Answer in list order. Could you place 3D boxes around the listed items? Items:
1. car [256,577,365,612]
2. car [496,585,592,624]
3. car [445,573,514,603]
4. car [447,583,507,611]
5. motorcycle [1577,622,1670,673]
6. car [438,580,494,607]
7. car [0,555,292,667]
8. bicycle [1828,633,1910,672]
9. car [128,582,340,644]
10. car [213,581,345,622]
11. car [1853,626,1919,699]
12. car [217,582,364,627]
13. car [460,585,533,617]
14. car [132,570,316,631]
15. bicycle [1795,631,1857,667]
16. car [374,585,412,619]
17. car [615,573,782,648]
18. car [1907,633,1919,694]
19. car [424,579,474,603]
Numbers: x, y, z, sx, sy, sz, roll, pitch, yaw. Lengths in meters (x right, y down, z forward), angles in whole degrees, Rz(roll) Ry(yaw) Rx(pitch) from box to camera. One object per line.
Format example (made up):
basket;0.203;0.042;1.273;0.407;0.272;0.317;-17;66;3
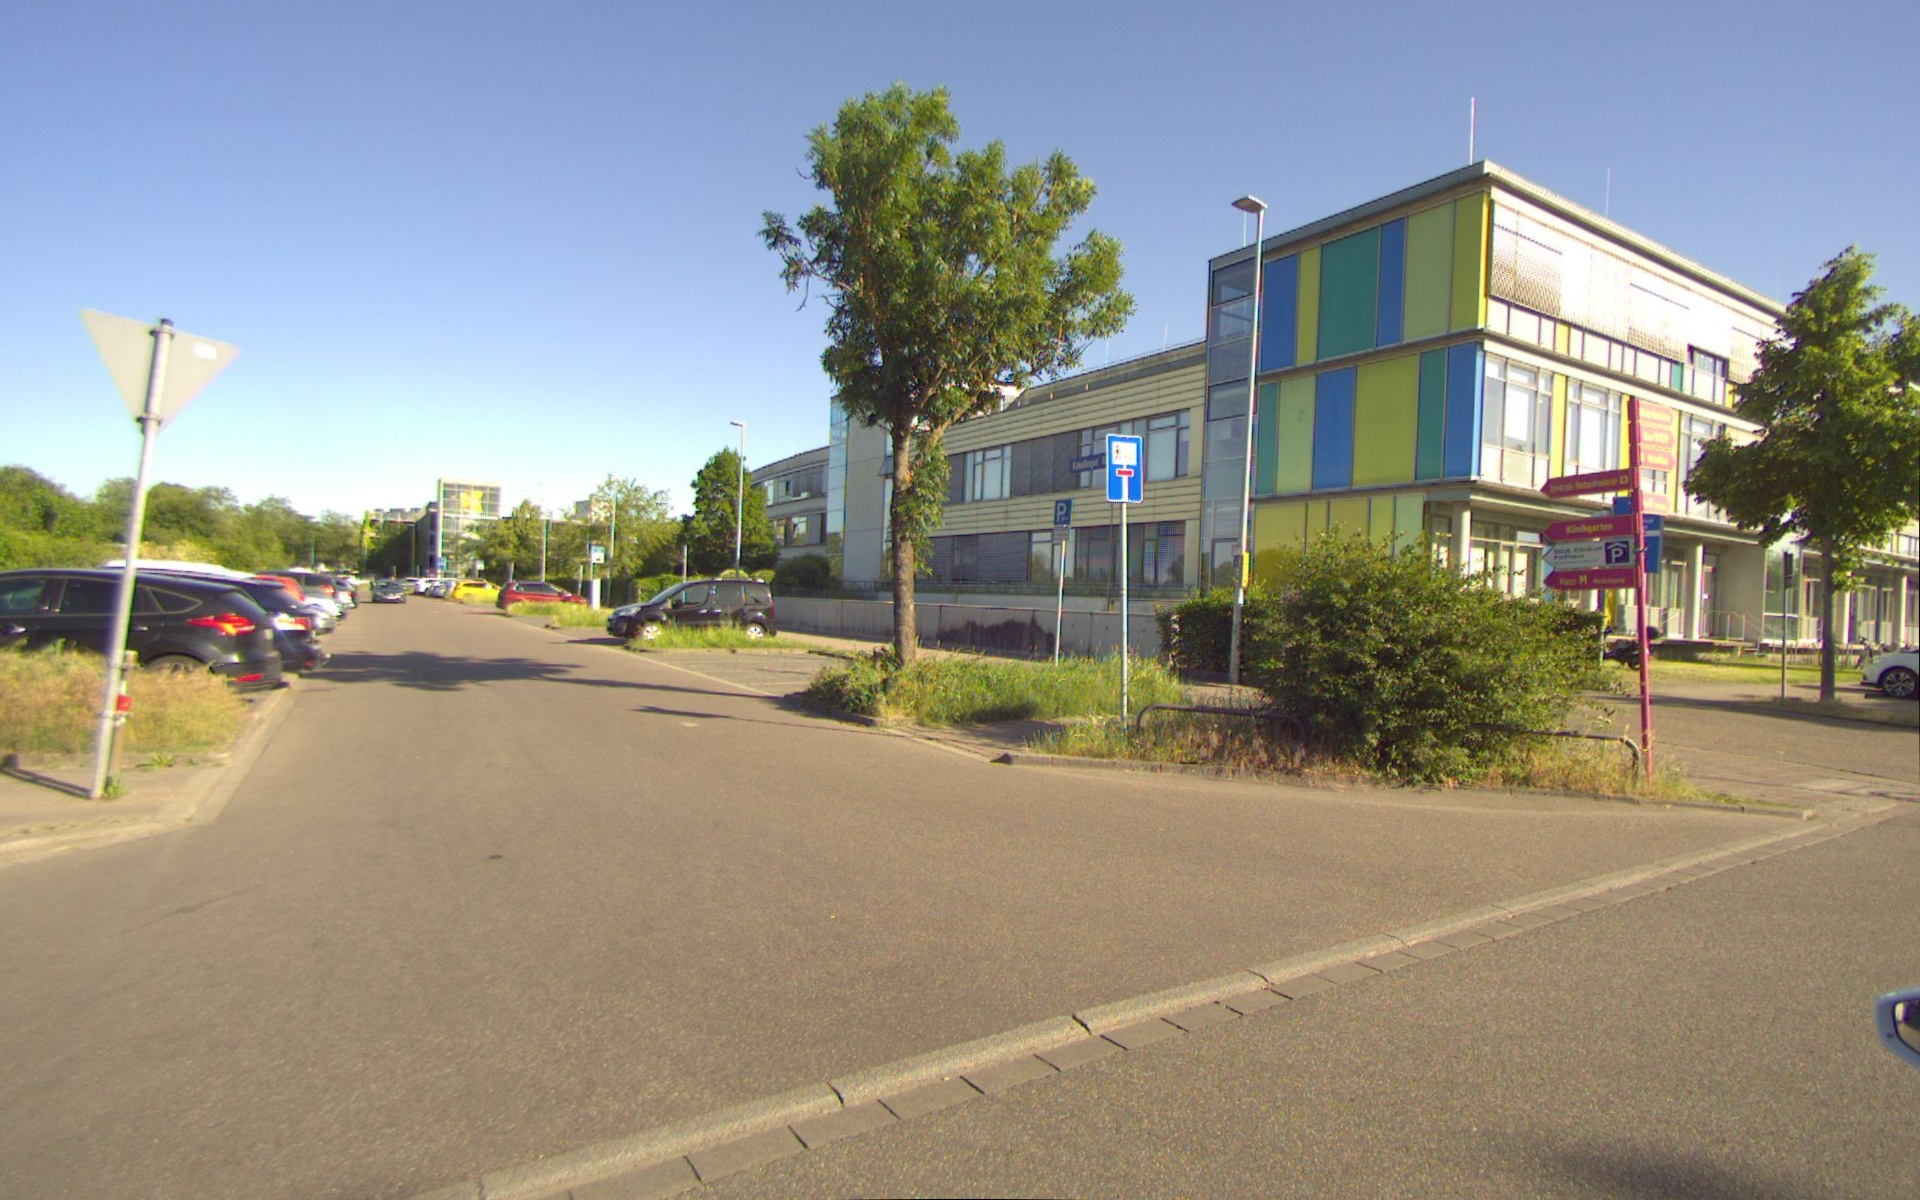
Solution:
car;-27.416;-0.188;42.492;3.806;1.280;1.497;2;-3;-34
car;-19.994;0.222;48.307;3.956;1.724;1.982;2;0;-32
car;-35.093;-0.855;73.401;4.345;2.040;1.982;2;0;-32
car;-36.942;-0.217;76.864;3.956;2.040;1.982;2;0;-32
motorcycle;18.126;1.276;27.495;0.494;1.165;2.030;1;3;-34
car;-40.679;-0.505;82.773;3.956;2.040;1.982;2;0;-32
car;-13.647;0.209;16.909;3.796;1.717;1.500;2;0;-27
bicycle;31.823;1.831;35.165;2.331;1.169;0.870;3;1;-11
car;-16.574;0.347;23.152;3.806;1.280;1.497;2;-3;-34
car;-24.352;0.081;36.051;3.806;1.280;1.497;2;-3;-34
car;23.944;1.560;23.198;1.845;1.673;4.592;2;0;-28
car;-21.259;0.150;32.037;3.806;1.281;1.496;2;0;-34
car;-30.932;0.095;67.079;4.337;1.966;1.986;2;0;-27
car;-19.959;0.019;27.444;3.796;1.504;1.500;2;0;-27
bicycle;31.597;1.777;36.648;1.964;1.169;0.867;3;1;-23
car;-36.406;0.137;64.449;1.978;2.040;3.966;2;0;-31
car;-6.923;0.291;26.667;4.050;1.813;1.500;2;0;-27
car;26.263;1.708;24.401;1.807;1.521;4.410;2;0;-31
car;-47.241;-0.814;92.910;3.956;2.040;1.982;2;0;-32
